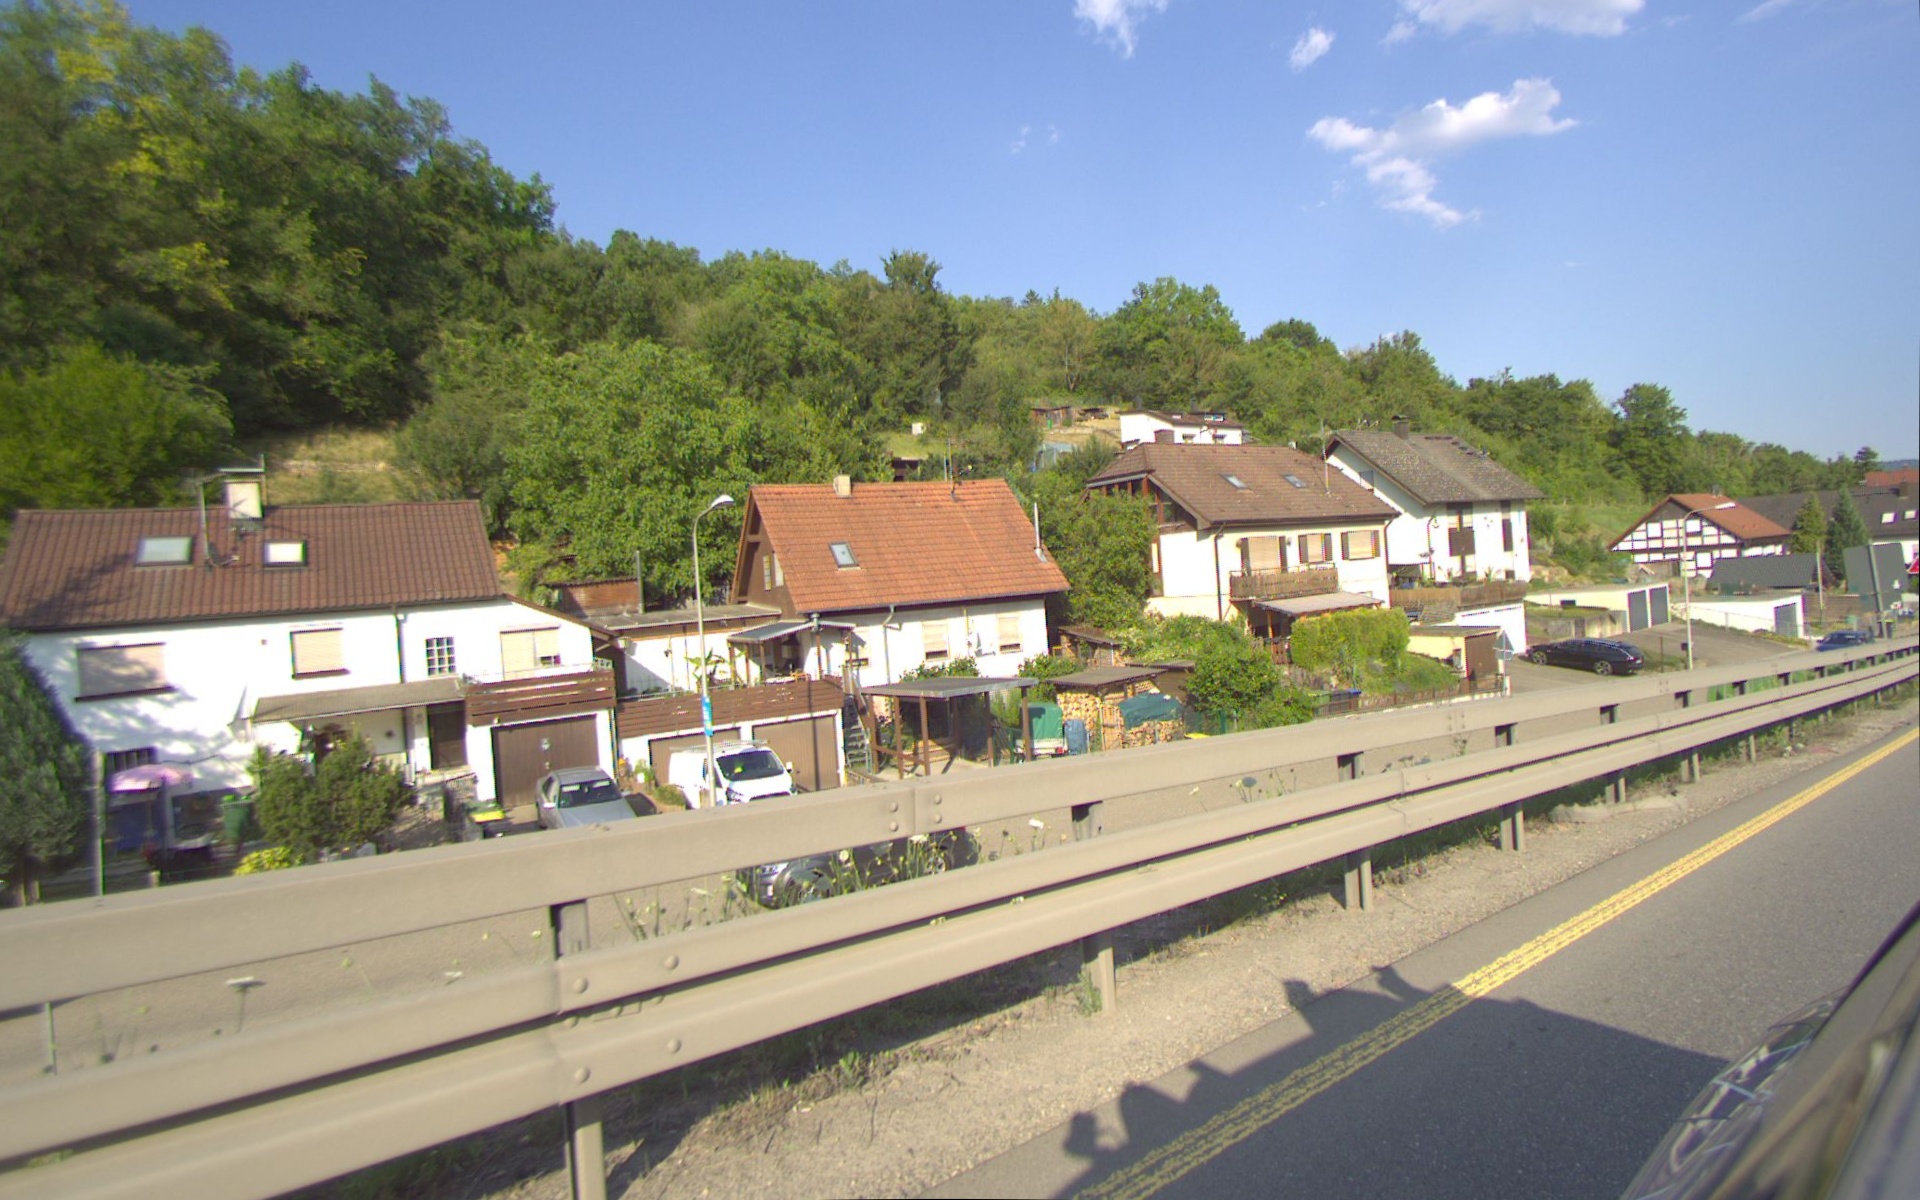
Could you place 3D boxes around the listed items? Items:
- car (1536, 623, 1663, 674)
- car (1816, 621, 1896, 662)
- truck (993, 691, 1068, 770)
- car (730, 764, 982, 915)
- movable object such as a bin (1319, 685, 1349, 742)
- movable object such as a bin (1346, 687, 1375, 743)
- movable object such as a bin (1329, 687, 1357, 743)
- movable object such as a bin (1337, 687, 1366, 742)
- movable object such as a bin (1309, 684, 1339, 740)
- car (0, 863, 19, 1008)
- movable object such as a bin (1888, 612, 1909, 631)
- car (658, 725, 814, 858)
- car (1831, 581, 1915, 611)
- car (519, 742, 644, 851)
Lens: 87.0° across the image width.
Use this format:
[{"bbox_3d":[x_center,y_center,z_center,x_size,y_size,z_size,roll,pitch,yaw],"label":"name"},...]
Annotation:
[{"bbox_3d":[29.504,2.172,46.818,1.962,1.542,4.516,-4,8,-32],"label":"car"},{"bbox_3d":[42.431,1.967,47.919,3.547,1.619,1.772,-2,-6,-33],"label":"car"},{"bbox_3d":[2.244,3.956,31.266,1.966,1.759,3.992,-7,-2,6],"label":"truck"},{"bbox_3d":[-1.950,4.456,19.466,4.412,1.807,1.869,-2,1,-33],"label":"car"},{"bbox_3d":[12.402,3.764,33.597,0.400,1.794,0.537,-3,-8,-28],"label":"movable object such as a bin"},{"bbox_3d":[13.515,3.885,34.181,0.406,1.794,0.491,-3,-8,-28],"label":"movable object such as a bin"},{"bbox_3d":[12.787,3.828,33.793,0.406,1.794,0.491,-3,-8,-28],"label":"movable object such as a bin"},{"bbox_3d":[13.152,3.845,33.974,0.406,1.794,0.491,-3,-8,-28],"label":"movable object such as a bin"},{"bbox_3d":[12.020,3.701,33.411,0.408,1.794,0.531,-3,-8,-28],"label":"movable object such as a bin"},{"bbox_3d":[-16.245,5.195,13.668,4.769,1.940,2.004,-3,2,-31],"label":"car"},{"bbox_3d":[54.379,1.245,58.621,0.665,1.014,0.724,-2,-1,-36],"label":"movable object such as a bin"},{"bbox_3d":[-5.804,4.662,25.630,1.962,2.292,5.485,-3,1,-33],"label":"car"},{"bbox_3d":[62.757,-0.314,69.623,1.717,1.861,4.002,-3,4,-35],"label":"car"},{"bbox_3d":[-9.176,4.563,24.242,1.683,1.576,5.108,-3,1,-33],"label":"car"}]
